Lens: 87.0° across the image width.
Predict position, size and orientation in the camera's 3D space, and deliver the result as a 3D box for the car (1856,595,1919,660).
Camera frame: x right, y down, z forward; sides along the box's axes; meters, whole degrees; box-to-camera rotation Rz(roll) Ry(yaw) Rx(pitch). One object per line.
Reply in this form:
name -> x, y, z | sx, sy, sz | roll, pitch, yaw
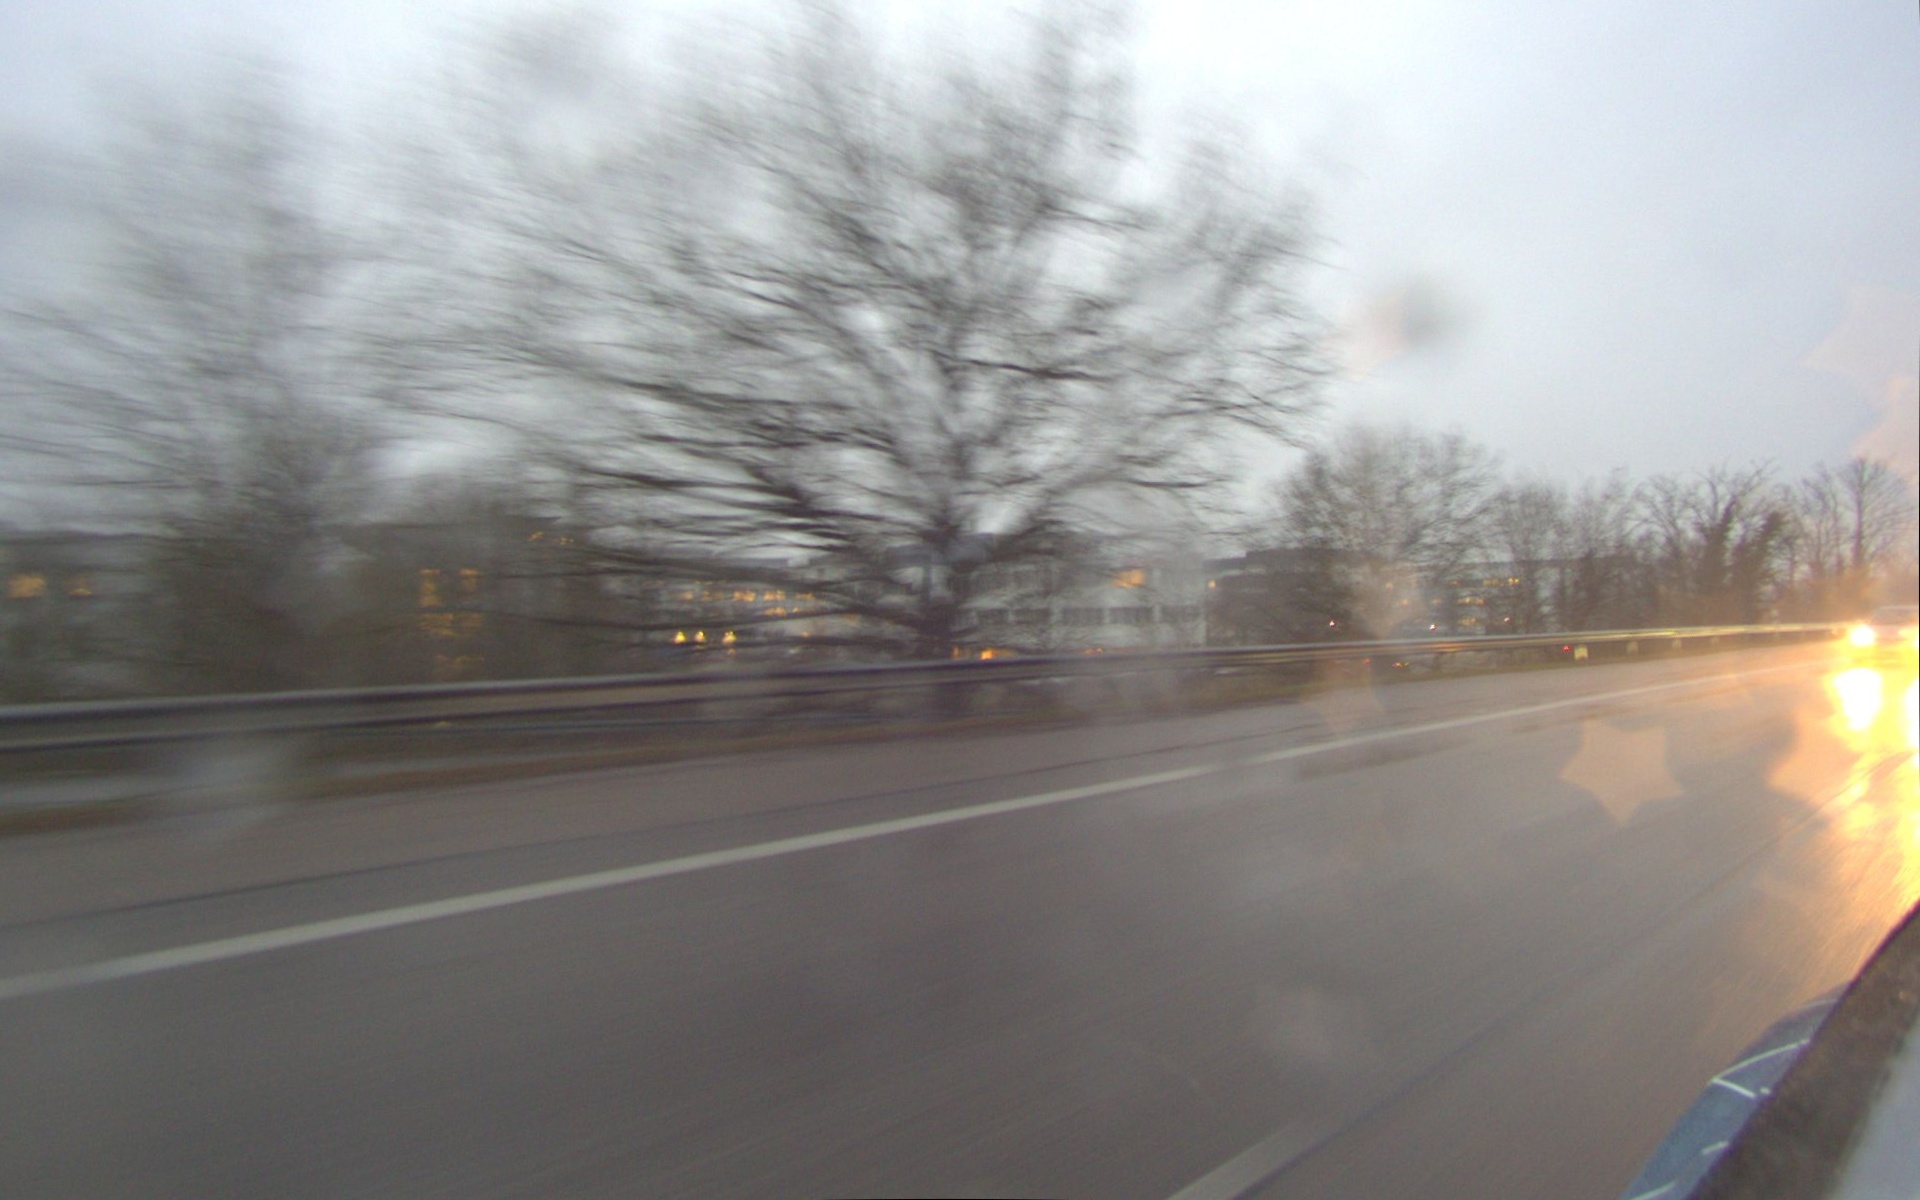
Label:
car -> 24.315, 0.668, 25.556 | 4.073, 1.549, 1.850 | 0, 0, -38
